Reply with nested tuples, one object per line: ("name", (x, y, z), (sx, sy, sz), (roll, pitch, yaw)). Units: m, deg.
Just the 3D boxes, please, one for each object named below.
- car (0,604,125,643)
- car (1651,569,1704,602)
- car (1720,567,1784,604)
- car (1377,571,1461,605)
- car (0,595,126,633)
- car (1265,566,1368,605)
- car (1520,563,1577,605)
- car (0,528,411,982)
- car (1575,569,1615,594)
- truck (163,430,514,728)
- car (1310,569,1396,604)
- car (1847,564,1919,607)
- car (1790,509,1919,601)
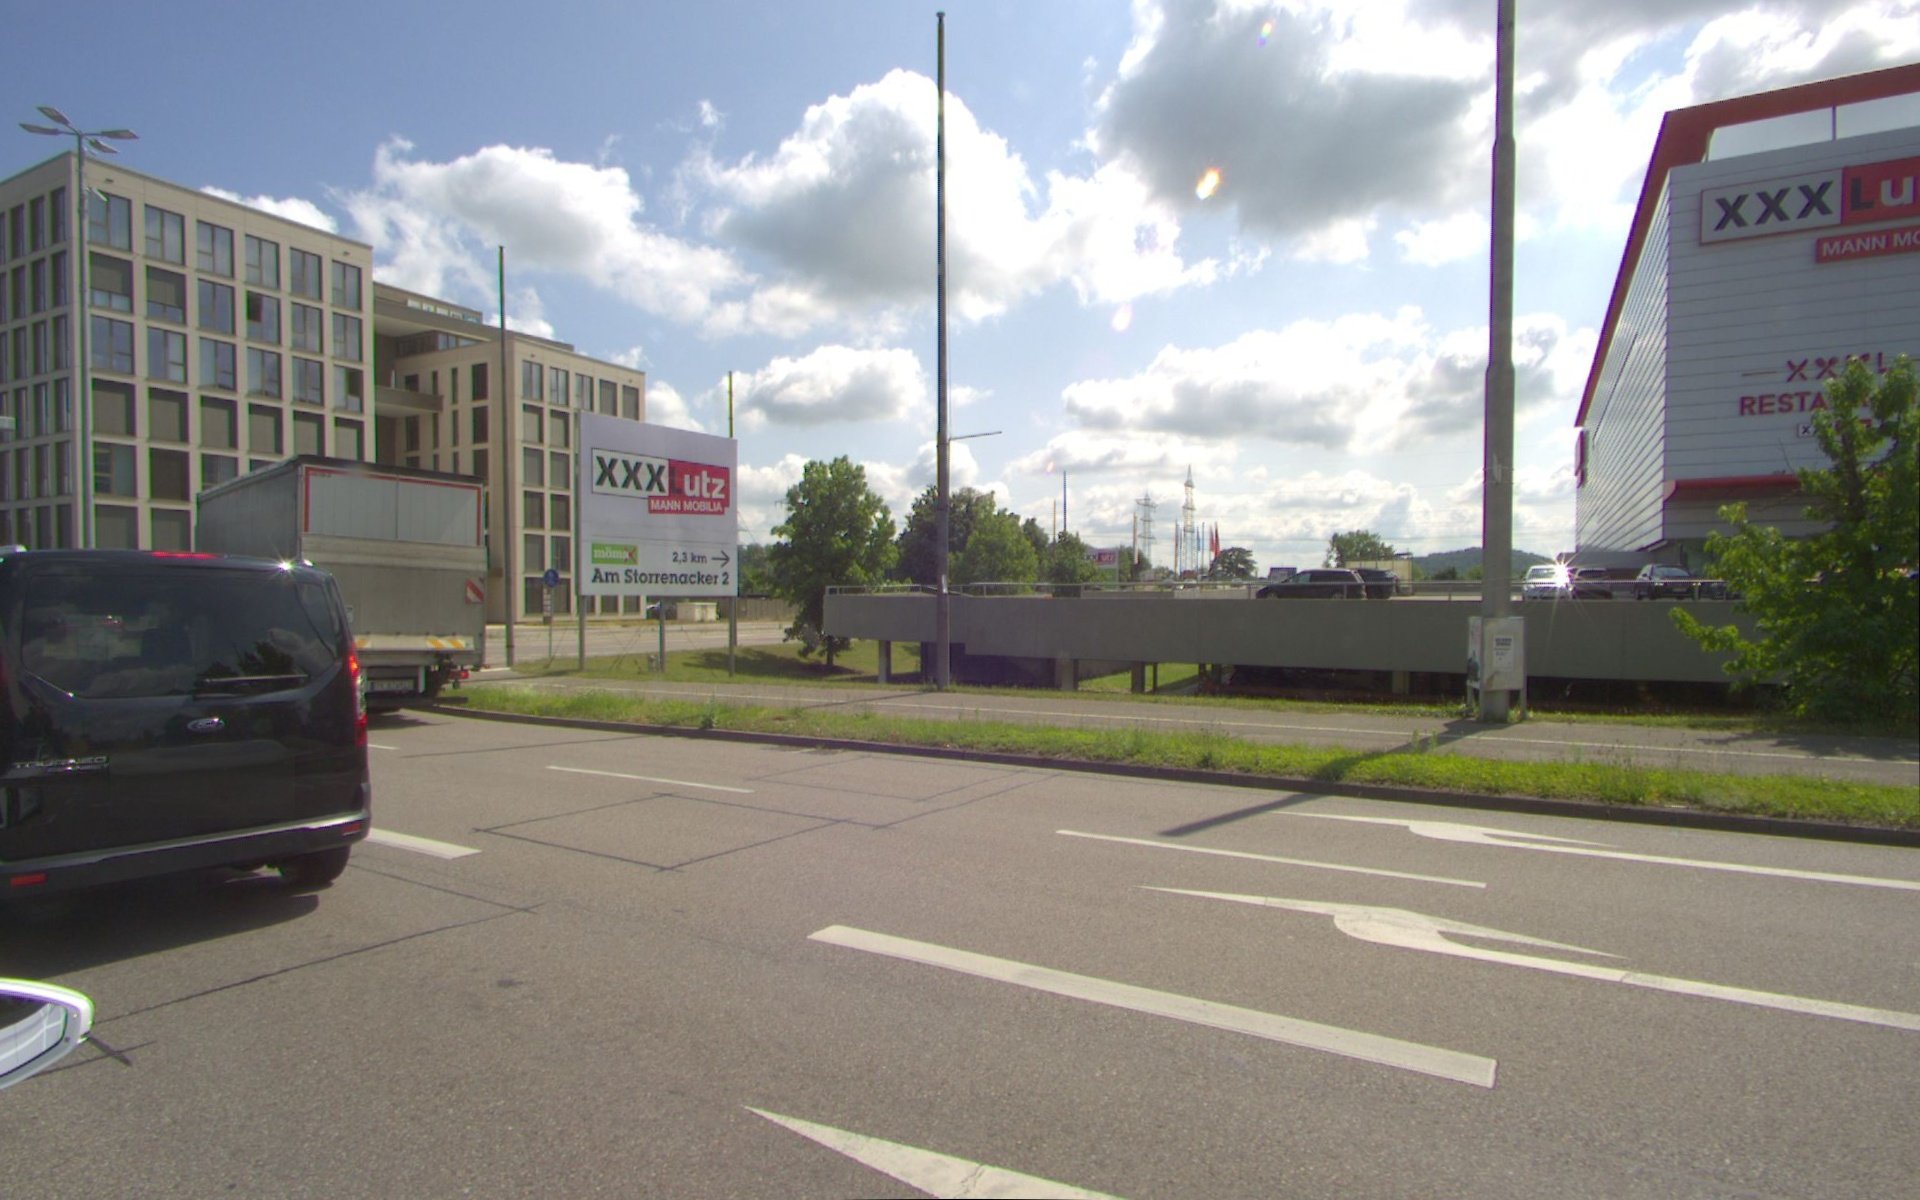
("car", (-37.355, 0.945, 41.477), (1.768, 1.509, 3.888), (1, -1, 31))
("car", (31.939, -0.673, 44.655), (1.561, 1.430, 3.519), (1, 2, 30))
("car", (32.945, -0.566, 41.718), (1.561, 1.429, 3.521), (1, 0, 30))
("car", (24.188, -0.623, 52.779), (3.936, 1.751, 1.993), (1, 0, 27))
("car", (-40.415, 0.611, 44.380), (1.969, 1.628, 4.978), (1, -1, 29))
("car", (14.805, -0.599, 41.578), (3.806, 1.541, 1.869), (1, 0, 27))
("car", (24.199, -0.607, 41.264), (1.608, 1.596, 3.897), (1, 0, 25))
("car", (-5.081, 0.658, 5.772), (3.946, 1.832, 1.815), (0, -1, 35))
("car", (33.650, -0.941, 53.130), (1.670, 1.199, 3.890), (1, -1, 31))
("truck", (-11.232, -0.263, 17.562), (8.761, 3.992, 3.112), (0, 0, 44))
("car", (19.575, -0.660, 49.869), (3.806, 1.622, 1.742), (1, 0, 27))
("car", (36.758, -0.520, 39.427), (1.970, 1.563, 3.981), (1, -1, 31))
("car", (25.646, -1.163, 28.694), (1.957, 2.223, 5.157), (0, -2, 29))
